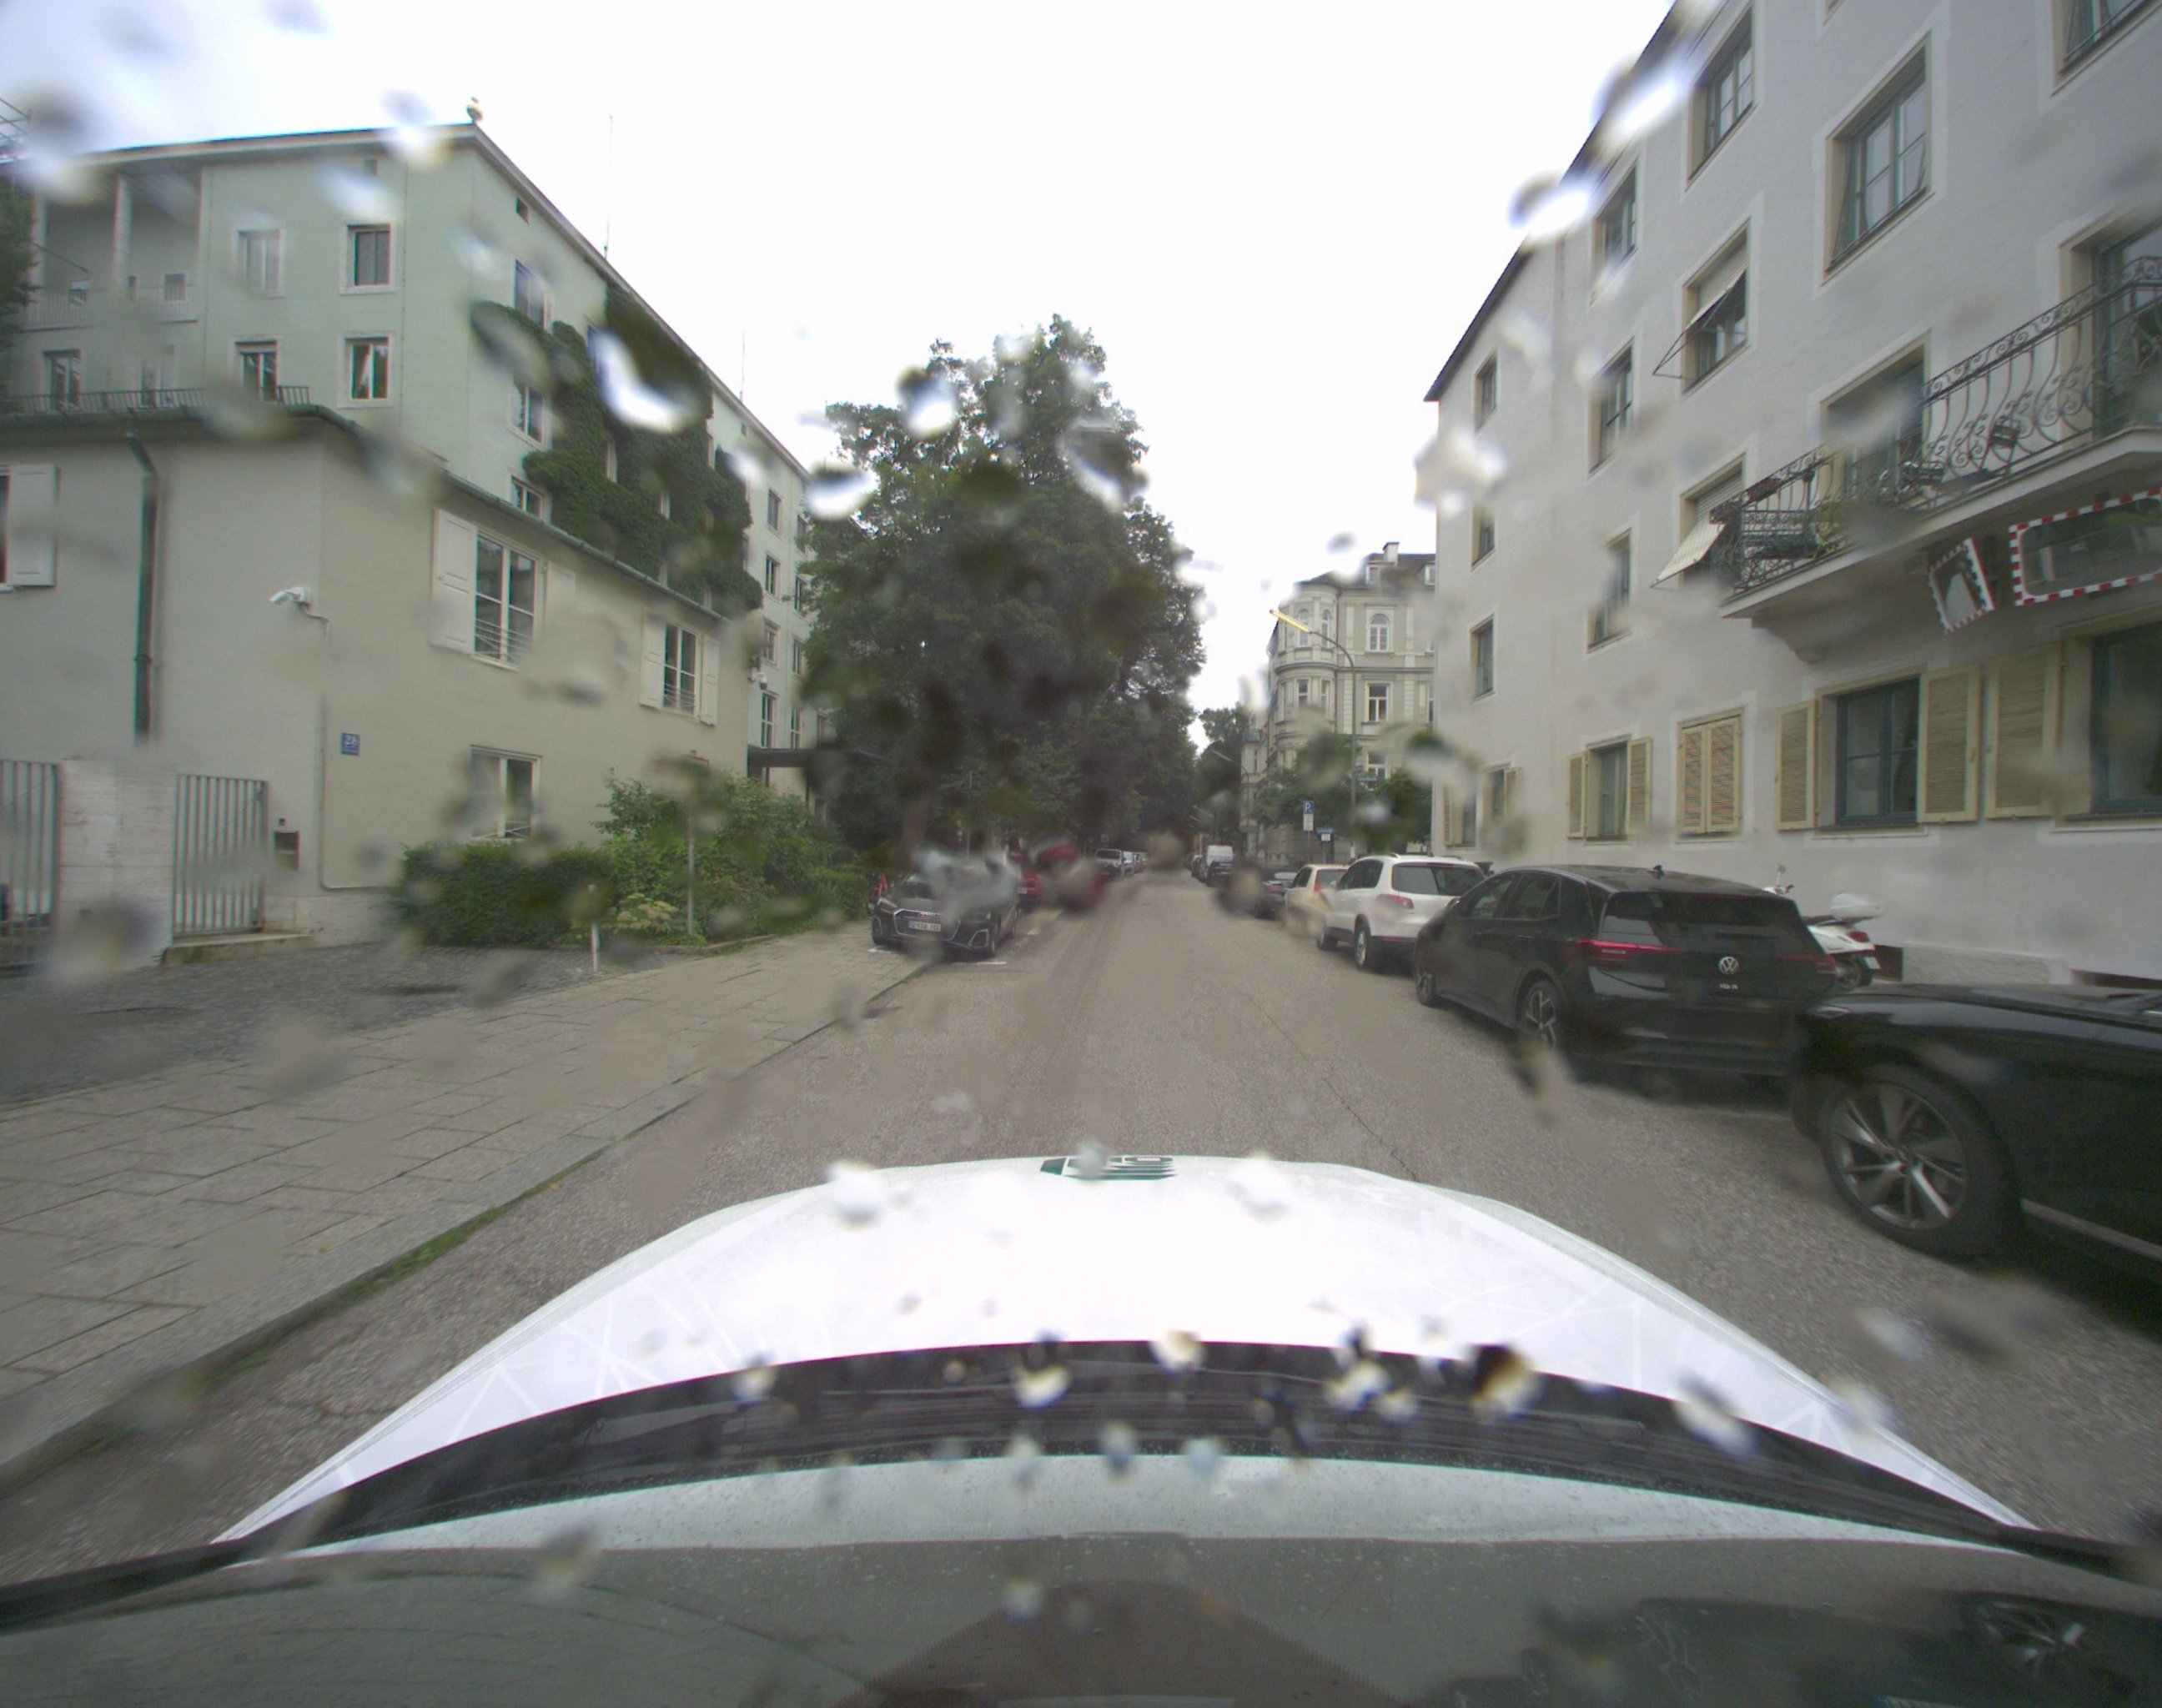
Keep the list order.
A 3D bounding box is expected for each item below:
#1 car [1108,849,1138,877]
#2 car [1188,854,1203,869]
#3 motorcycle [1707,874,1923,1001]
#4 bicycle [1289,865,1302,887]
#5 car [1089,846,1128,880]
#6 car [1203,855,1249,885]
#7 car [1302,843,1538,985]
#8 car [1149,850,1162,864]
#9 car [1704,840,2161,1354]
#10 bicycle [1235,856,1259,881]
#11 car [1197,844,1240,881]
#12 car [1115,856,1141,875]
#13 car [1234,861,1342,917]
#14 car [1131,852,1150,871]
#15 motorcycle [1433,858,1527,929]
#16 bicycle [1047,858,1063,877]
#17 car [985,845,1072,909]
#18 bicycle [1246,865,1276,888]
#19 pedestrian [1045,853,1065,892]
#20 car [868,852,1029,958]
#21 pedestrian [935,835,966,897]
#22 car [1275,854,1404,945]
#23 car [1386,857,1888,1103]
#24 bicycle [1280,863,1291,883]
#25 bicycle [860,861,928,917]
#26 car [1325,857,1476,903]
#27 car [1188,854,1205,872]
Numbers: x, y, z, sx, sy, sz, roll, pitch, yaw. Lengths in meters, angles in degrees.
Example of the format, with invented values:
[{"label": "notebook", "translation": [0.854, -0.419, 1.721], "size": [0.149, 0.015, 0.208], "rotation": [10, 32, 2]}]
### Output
[{"label": "car", "translation": [3.297, 0.675, 63.294], "size": [2.174, 1.956, 5.171], "rotation": [2, 0, 3]}, {"label": "car", "translation": [15.875, 0.989, 113.069], "size": [1.982, 2.013, 4.009], "rotation": [0, 0, 8]}, {"label": "motorcycle", "translation": [8.366, 0.888, 9.429], "size": [0.729, 1.239, 2.009], "rotation": [2, 0, 3]}, {"label": "bicycle", "translation": [11.225, 1.142, 42.658], "size": [0.427, 1.028, 1.895], "rotation": [1, 1, 8]}, {"label": "car", "translation": [1.828, 0.561, 51.640], "size": [2.238, 1.956, 5.458], "rotation": [2, 0, 3]}, {"label": "car", "translation": [7.797, 0.836, 44.208], "size": [2.260, 1.546, 4.597], "rotation": [0, -1, 8]}, {"label": "car", "translation": [4.931, 0.769, 12.665], "size": [1.985, 1.707, 4.539], "rotation": [3, 0, 4]}, {"label": "car", "translation": [12.418, 0.485, 135.866], "size": [2.039, 2.154, 4.317], "rotation": [2, 0, 3]}, {"label": "car", "translation": [4.235, 0.747, 1.936], "size": [1.853, 1.577, 4.900], "rotation": [0, 0, 1]}, {"label": "bicycle", "translation": [10.284, 0.863, 50.482], "size": [0.707, 1.515, 2.031], "rotation": [1, 0, -11]}, {"label": "car", "translation": [8.572, 0.520, 51.145], "size": [2.193, 2.208, 4.861], "rotation": [0, -1, 4]}, {"label": "car", "translation": [4.348, 1.037, 74.670], "size": [2.059, 1.519, 4.244], "rotation": [2, 0, 6]}, {"label": "car", "translation": [5.477, 0.876, 22.158], "size": [1.991, 1.319, 4.599], "rotation": [-1, 0, 3]}, {"label": "car", "translation": [7.035, 0.871, 96.147], "size": [1.992, 2.186, 4.702], "rotation": [2, 0, 5]}, {"label": "motorcycle", "translation": [8.840, 0.822, 18.216], "size": [0.853, 1.433, 2.708], "rotation": [1, 0, 2]}, {"label": "bicycle", "translation": [-1.542, 0.798, 48.213], "size": [0.629, 1.102, 1.771], "rotation": [2, 0, 8]}, {"label": "car", "translation": [-1.408, 0.611, 23.596], "size": [1.879, 1.590, 4.532], "rotation": [2, 0, 3]}, {"label": "bicycle", "translation": [8.960, 1.094, 40.620], "size": [0.654, 1.028, 2.195], "rotation": [0, 1, -9]}, {"label": "pedestrian", "translation": [-1.092, 0.757, 33.952], "size": [0.711, 1.548, 0.752], "rotation": [3, 0, 0]}, {"label": "car", "translation": [-2.011, 0.722, 13.869], "size": [1.801, 1.402, 4.925], "rotation": [2, 0, 1]}, {"label": "pedestrian", "translation": [-4.012, 0.354, 25.069], "size": [0.709, 1.852, 0.798], "rotation": [2, -1, 4]}, {"label": "car", "translation": [5.326, 0.869, 17.276], "size": [1.762, 1.546, 3.717], "rotation": [6, 0, 6]}, {"label": "car", "translation": [4.342, 0.801, 7.380], "size": [1.830, 1.531, 4.421], "rotation": [0, 0, 5]}, {"label": "bicycle", "translation": [11.593, 1.070, 46.200], "size": [0.542, 1.060, 1.757], "rotation": [1, 0, 15]}, {"label": "bicycle", "translation": [-4.007, 0.725, 17.641], "size": [0.645, 1.130, 2.053], "rotation": [1, 0, 10]}, {"label": "car", "translation": [11.858, 0.931, 30.490], "size": [4.885, 1.531, 1.915], "rotation": [1, 2, 3]}, {"label": "car", "translation": [13.344, 0.988, 94.004], "size": [1.982, 1.975, 4.009], "rotation": [0, 0, 8]}]
